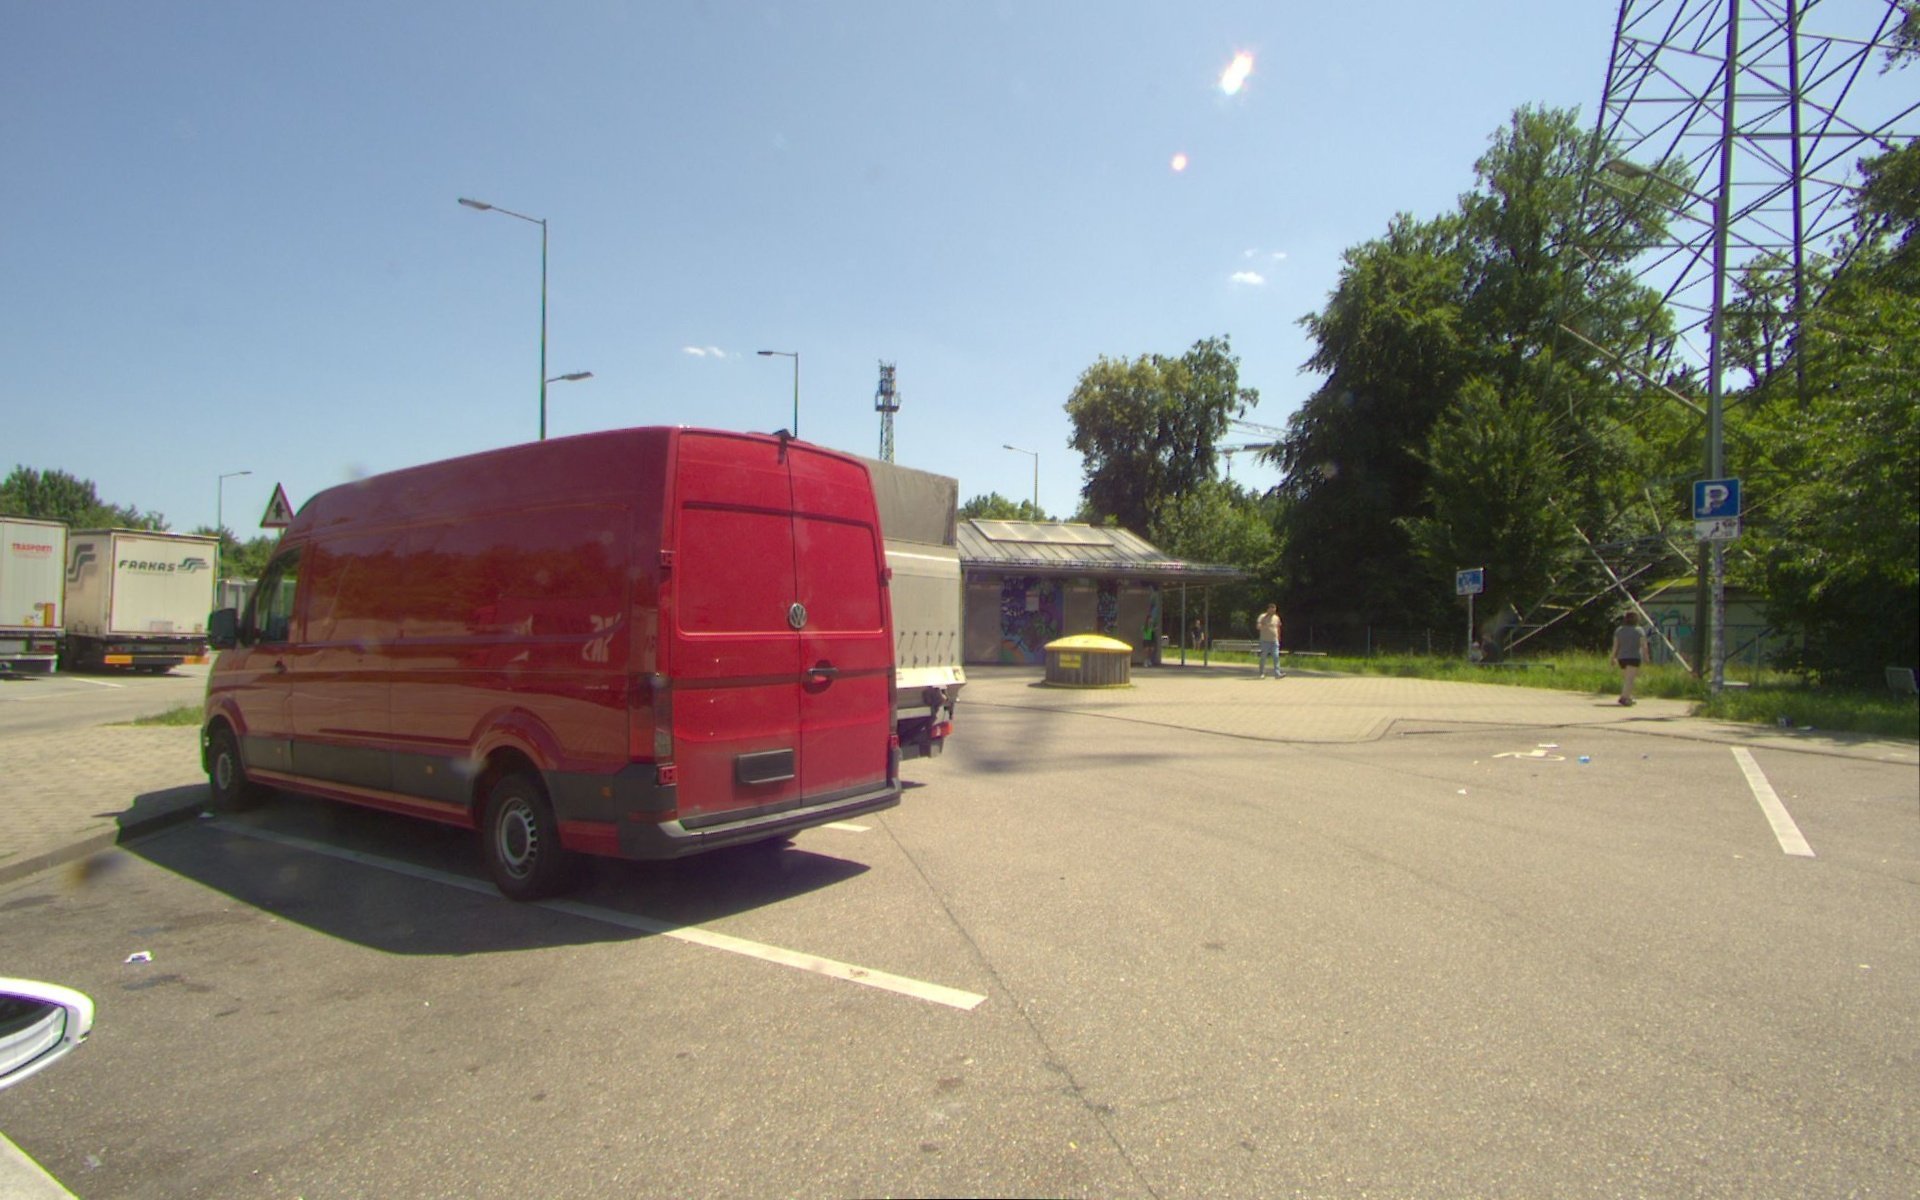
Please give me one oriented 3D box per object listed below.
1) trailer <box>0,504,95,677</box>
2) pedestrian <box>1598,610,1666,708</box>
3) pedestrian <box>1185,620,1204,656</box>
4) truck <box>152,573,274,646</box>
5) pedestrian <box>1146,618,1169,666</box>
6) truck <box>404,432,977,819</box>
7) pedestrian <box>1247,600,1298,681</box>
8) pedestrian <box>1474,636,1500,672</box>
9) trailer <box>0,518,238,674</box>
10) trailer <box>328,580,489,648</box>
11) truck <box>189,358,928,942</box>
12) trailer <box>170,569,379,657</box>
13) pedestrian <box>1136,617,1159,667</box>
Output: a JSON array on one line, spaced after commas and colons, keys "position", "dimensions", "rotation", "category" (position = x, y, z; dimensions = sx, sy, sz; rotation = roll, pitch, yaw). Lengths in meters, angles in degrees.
[{"position": [-28.691, -0.337, 28.011], "dimensions": [13.561, 4.162, 2.854], "rotation": [1, -2, 32], "category": "trailer"}, {"position": [11.788, 1.026, 17.583], "dimensions": [0.702, 1.670, 0.687], "rotation": [0, -1, -11], "category": "pedestrian"}, {"position": [10.799, 1.728, 46.061], "dimensions": [0.799, 1.639, 0.920], "rotation": [0, -1, 17], "category": "pedestrian"}, {"position": [-37.553, 0.479, 50.311], "dimensions": [5.887, 3.406, 2.862], "rotation": [1, -2, 32], "category": "truck"}, {"position": [5.842, 1.233, 29.641], "dimensions": [0.532, 1.392, 0.583], "rotation": [0, -1, 0], "category": "pedestrian"}, {"position": [-3.089, 0.277, 10.513], "dimensions": [6.372, 2.944, 2.411], "rotation": [-1, -2, 37], "category": "truck"}, {"position": [7.574, 0.986, 24.304], "dimensions": [0.799, 1.929, 0.920], "rotation": [0, -1, -15], "category": "pedestrian"}, {"position": [14.640, 1.496, 27.810], "dimensions": [0.439, 0.987, 0.460], "rotation": [0, -1, -19], "category": "pedestrian"}, {"position": [-27.618, -0.164, 31.598], "dimensions": [13.561, 4.162, 2.854], "rotation": [1, -2, 32], "category": "trailer"}, {"position": [-36.176, 0.850, 65.327], "dimensions": [13.561, 3.955, 2.854], "rotation": [1, -2, 32], "category": "trailer"}, {"position": [-3.339, 0.305, 7.329], "dimensions": [6.372, 2.685, 2.005], "rotation": [-1, -2, 37], "category": "truck"}, {"position": [-32.482, 0.489, 47.088], "dimensions": [13.561, 3.646, 2.854], "rotation": [1, -2, 32], "category": "trailer"}, {"position": [5.349, 1.195, 28.588], "dimensions": [0.532, 1.392, 0.583], "rotation": [0, -1, 0], "category": "pedestrian"}]
